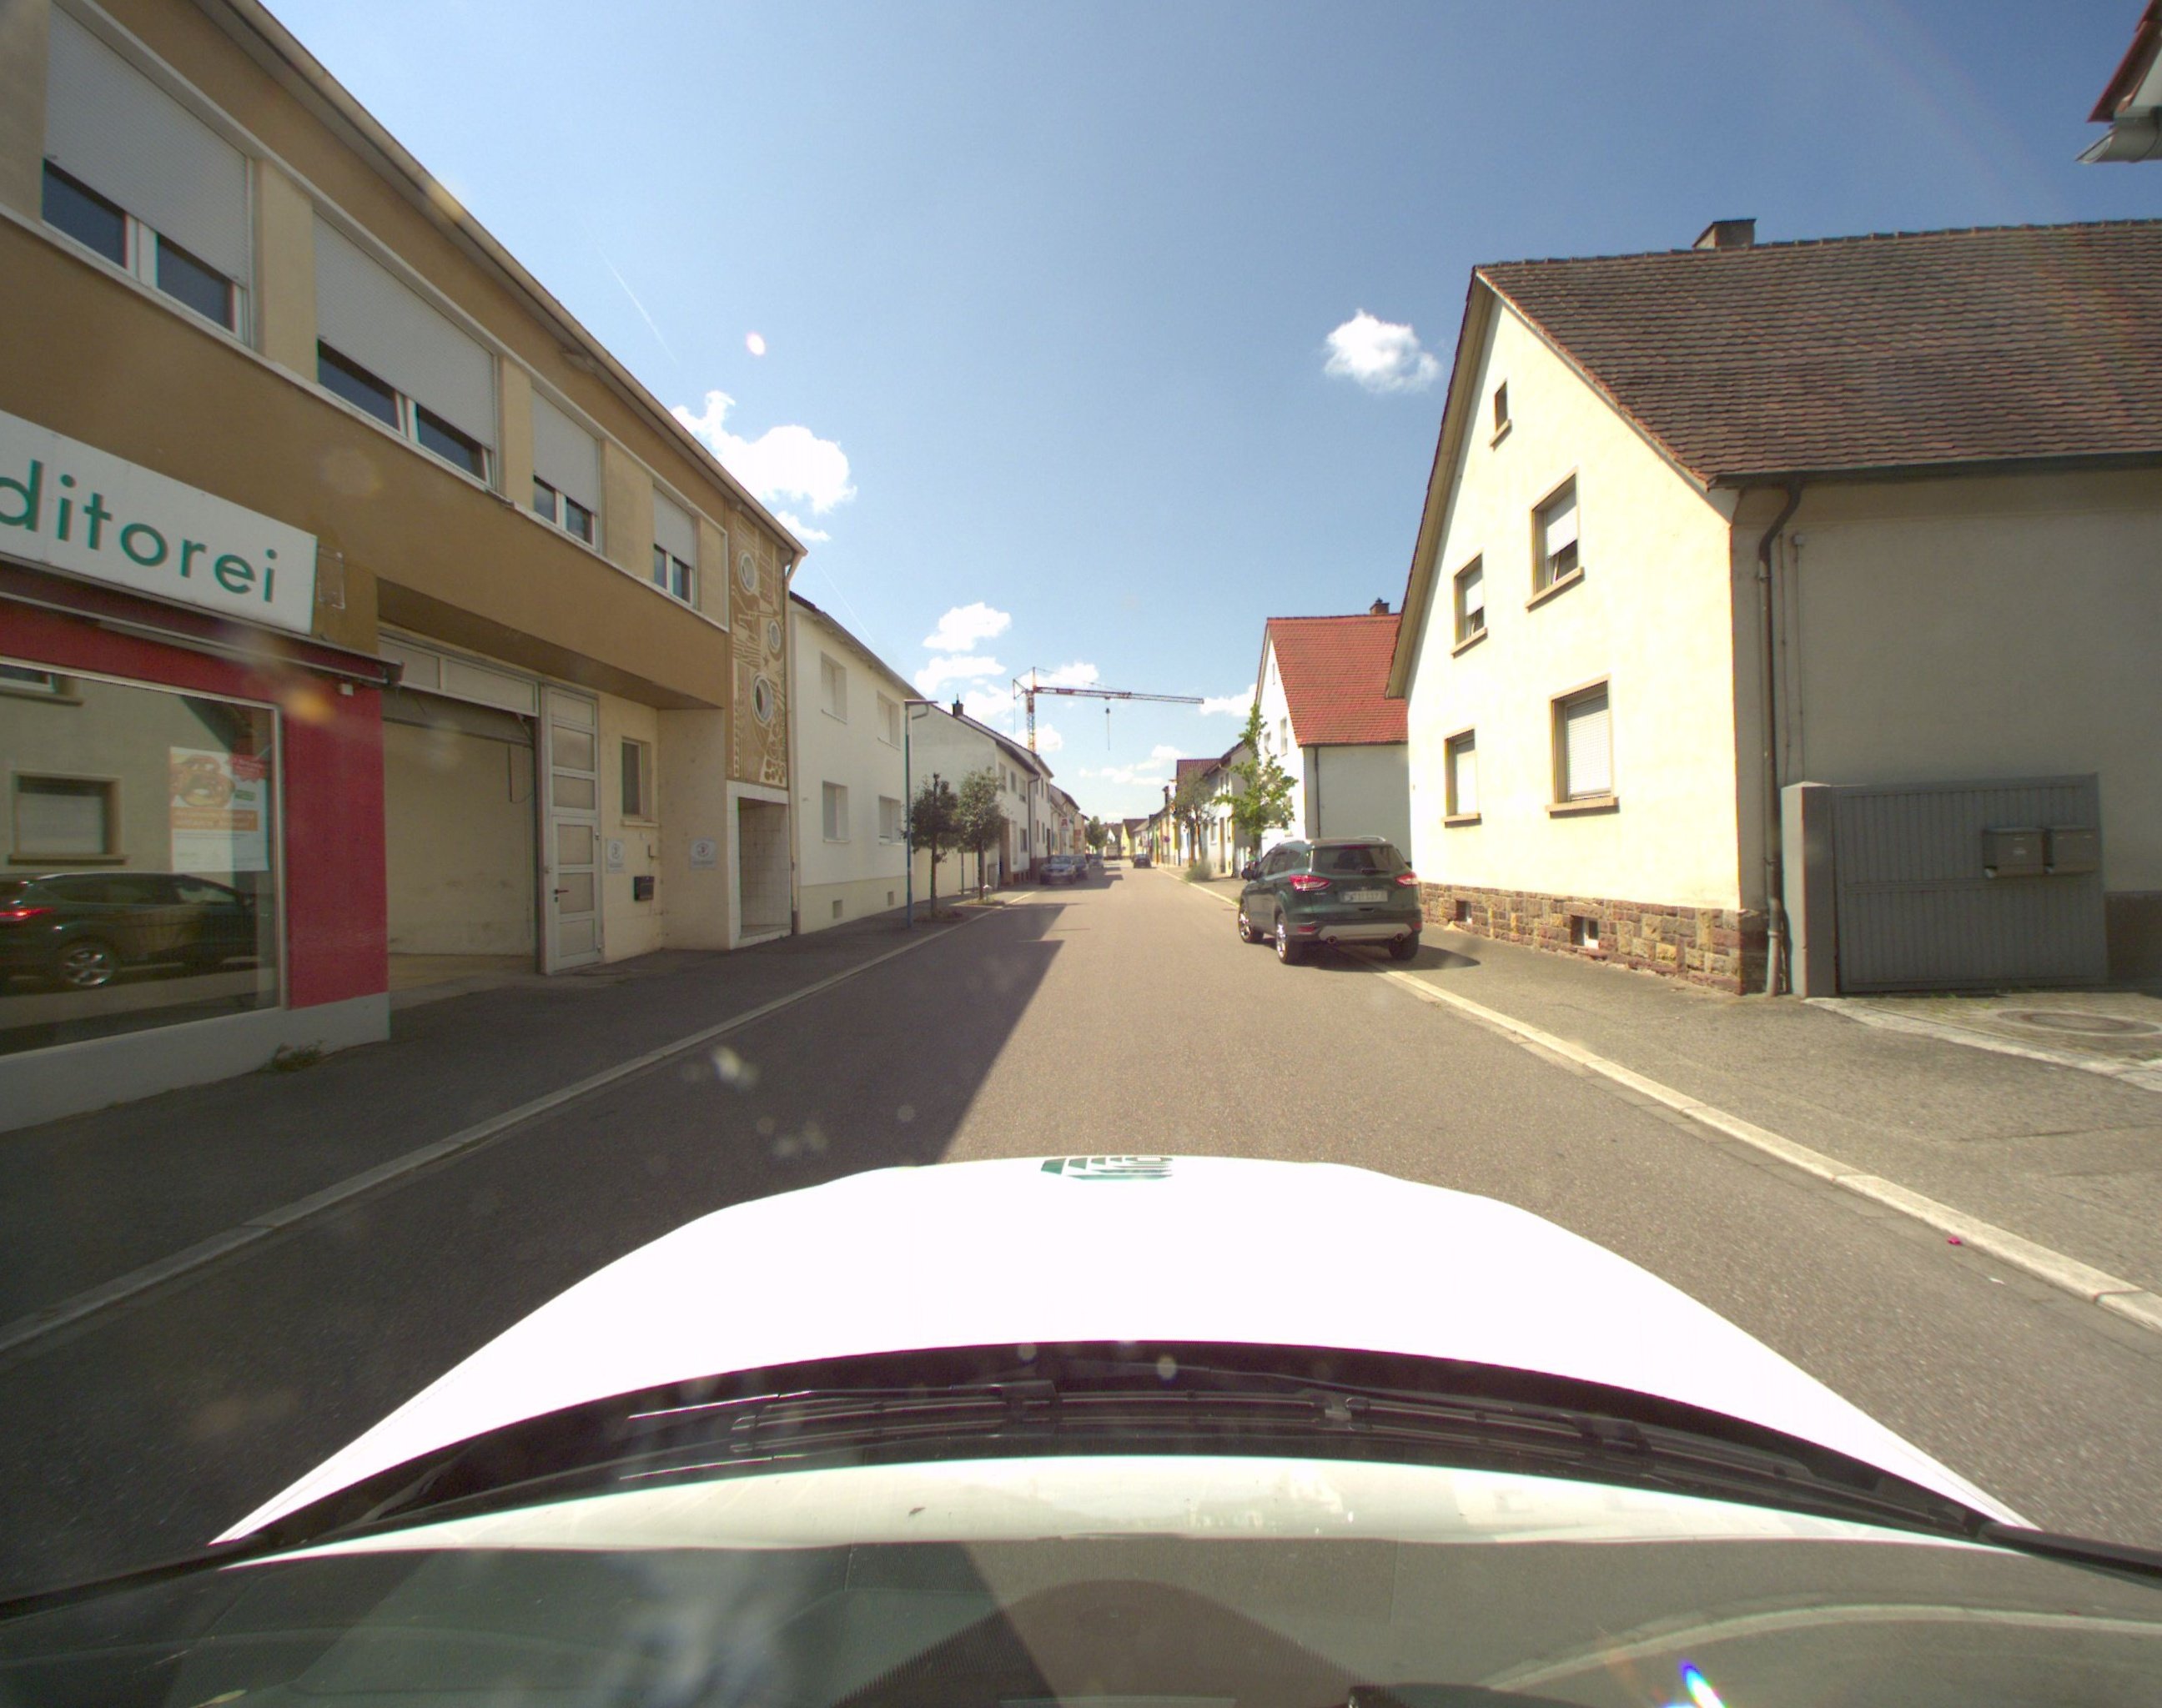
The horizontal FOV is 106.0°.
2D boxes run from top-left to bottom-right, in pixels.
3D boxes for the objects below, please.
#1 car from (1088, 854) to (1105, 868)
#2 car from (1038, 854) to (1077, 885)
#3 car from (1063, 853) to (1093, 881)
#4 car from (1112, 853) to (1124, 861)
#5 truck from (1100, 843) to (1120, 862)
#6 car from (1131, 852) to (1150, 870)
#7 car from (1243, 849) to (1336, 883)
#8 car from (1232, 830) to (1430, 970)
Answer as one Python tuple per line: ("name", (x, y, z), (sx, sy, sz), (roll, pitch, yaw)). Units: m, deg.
("car", (1.701, 0.727, 90.194), (1.716, 1.555, 4.176), (0, 0, 3))
("car", (-1.232, 0.809, 44.502), (1.751, 1.525, 4.291), (-2, 0, 2))
("car", (-0.173, 0.762, 50.909), (1.647, 1.609, 4.063), (-2, 0, 2))
("car", (8.860, 0.711, 197.346), (1.785, 1.753, 4.208), (-2, 0, -14))
("truck", (6.439, -0.305, 182.765), (3.371, 3.865, 13.911), (-2, 0, -3))
("car", (6.156, 0.683, 84.260), (1.776, 1.753, 4.002), (-2, 0, 2))
("car", (9.574, 0.561, 37.658), (3.905, 1.415, 1.742), (-2, 0, 3))
("car", (3.534, 0.579, 12.370), (1.723, 1.717, 4.276), (-1, 0, 1))
